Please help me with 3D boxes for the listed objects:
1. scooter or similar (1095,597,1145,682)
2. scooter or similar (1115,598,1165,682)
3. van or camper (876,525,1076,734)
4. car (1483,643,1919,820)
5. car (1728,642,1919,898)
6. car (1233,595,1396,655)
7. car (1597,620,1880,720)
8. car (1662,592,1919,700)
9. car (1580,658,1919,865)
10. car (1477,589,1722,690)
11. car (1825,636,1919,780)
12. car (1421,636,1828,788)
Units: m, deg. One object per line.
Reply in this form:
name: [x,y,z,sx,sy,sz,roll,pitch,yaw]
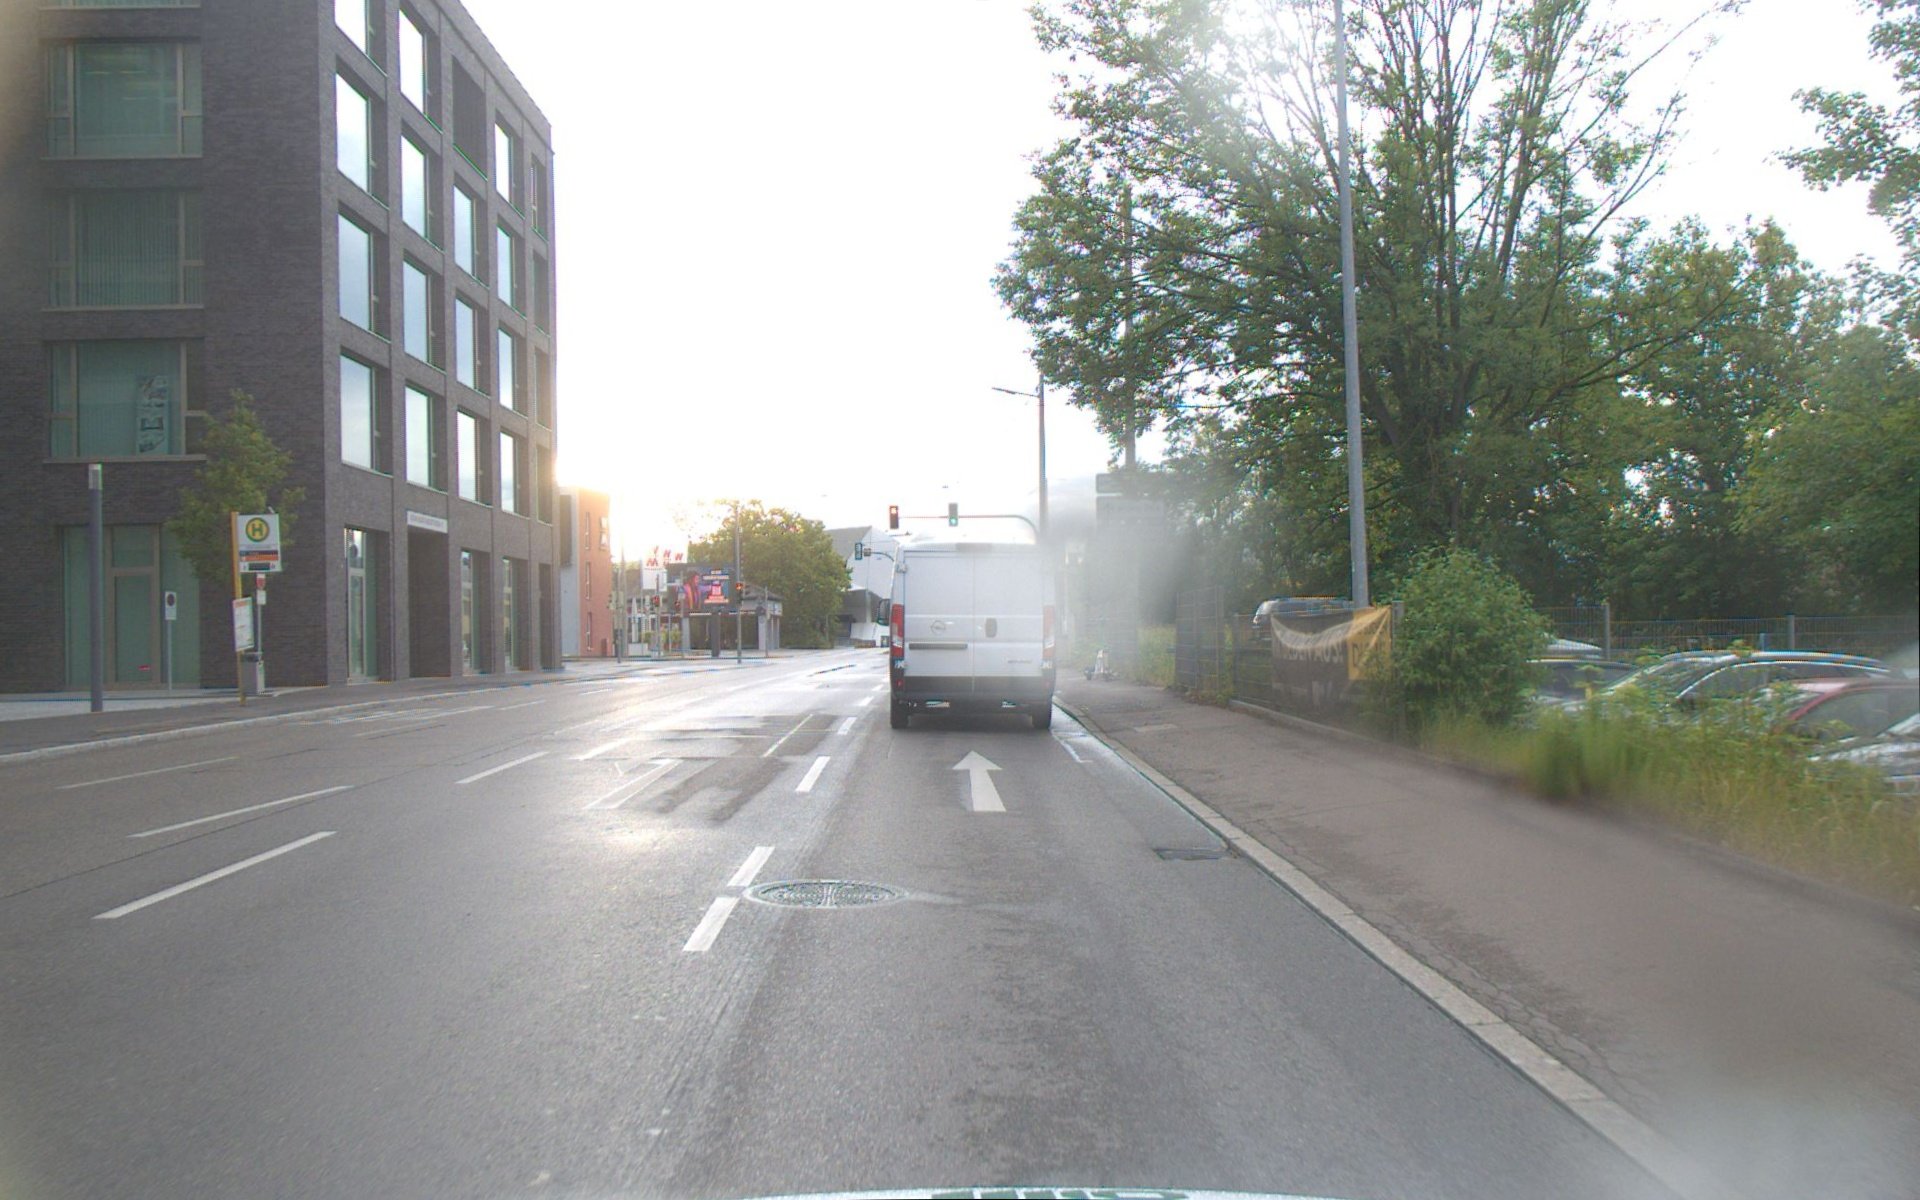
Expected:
scooter or similar: [3.102,0.754,32.170,0.428,1.615,1.263,0,0,-23]
scooter or similar: [3.509,0.764,32.354,0.428,1.591,1.264,0,0,-23]
van or camper: [0.174,0.316,21.573,2.292,2.398,5.199,0,0,0]
car: [7.429,1.241,16.365,3.910,1.548,1.801,0,0,-6]
car: [7.612,1.081,11.297,3.906,1.548,1.803,0,0,-1]
car: [9.488,0.653,44.425,3.910,1.548,1.801,0,0,-6]
car: [12.904,1.135,27.532,3.910,1.548,1.801,0,0,-6]
car: [12.895,0.661,24.910,3.910,1.548,1.801,0,0,-6]
car: [7.517,1.300,13.954,3.906,1.548,1.803,0,0,-1]
car: [12.167,0.733,31.607,3.911,1.548,1.801,-5,0,-6]
car: [12.493,1.209,19.317,3.910,1.548,1.801,0,0,-6]
car: [7.451,1.219,18.748,3.910,1.548,1.801,0,0,-6]
